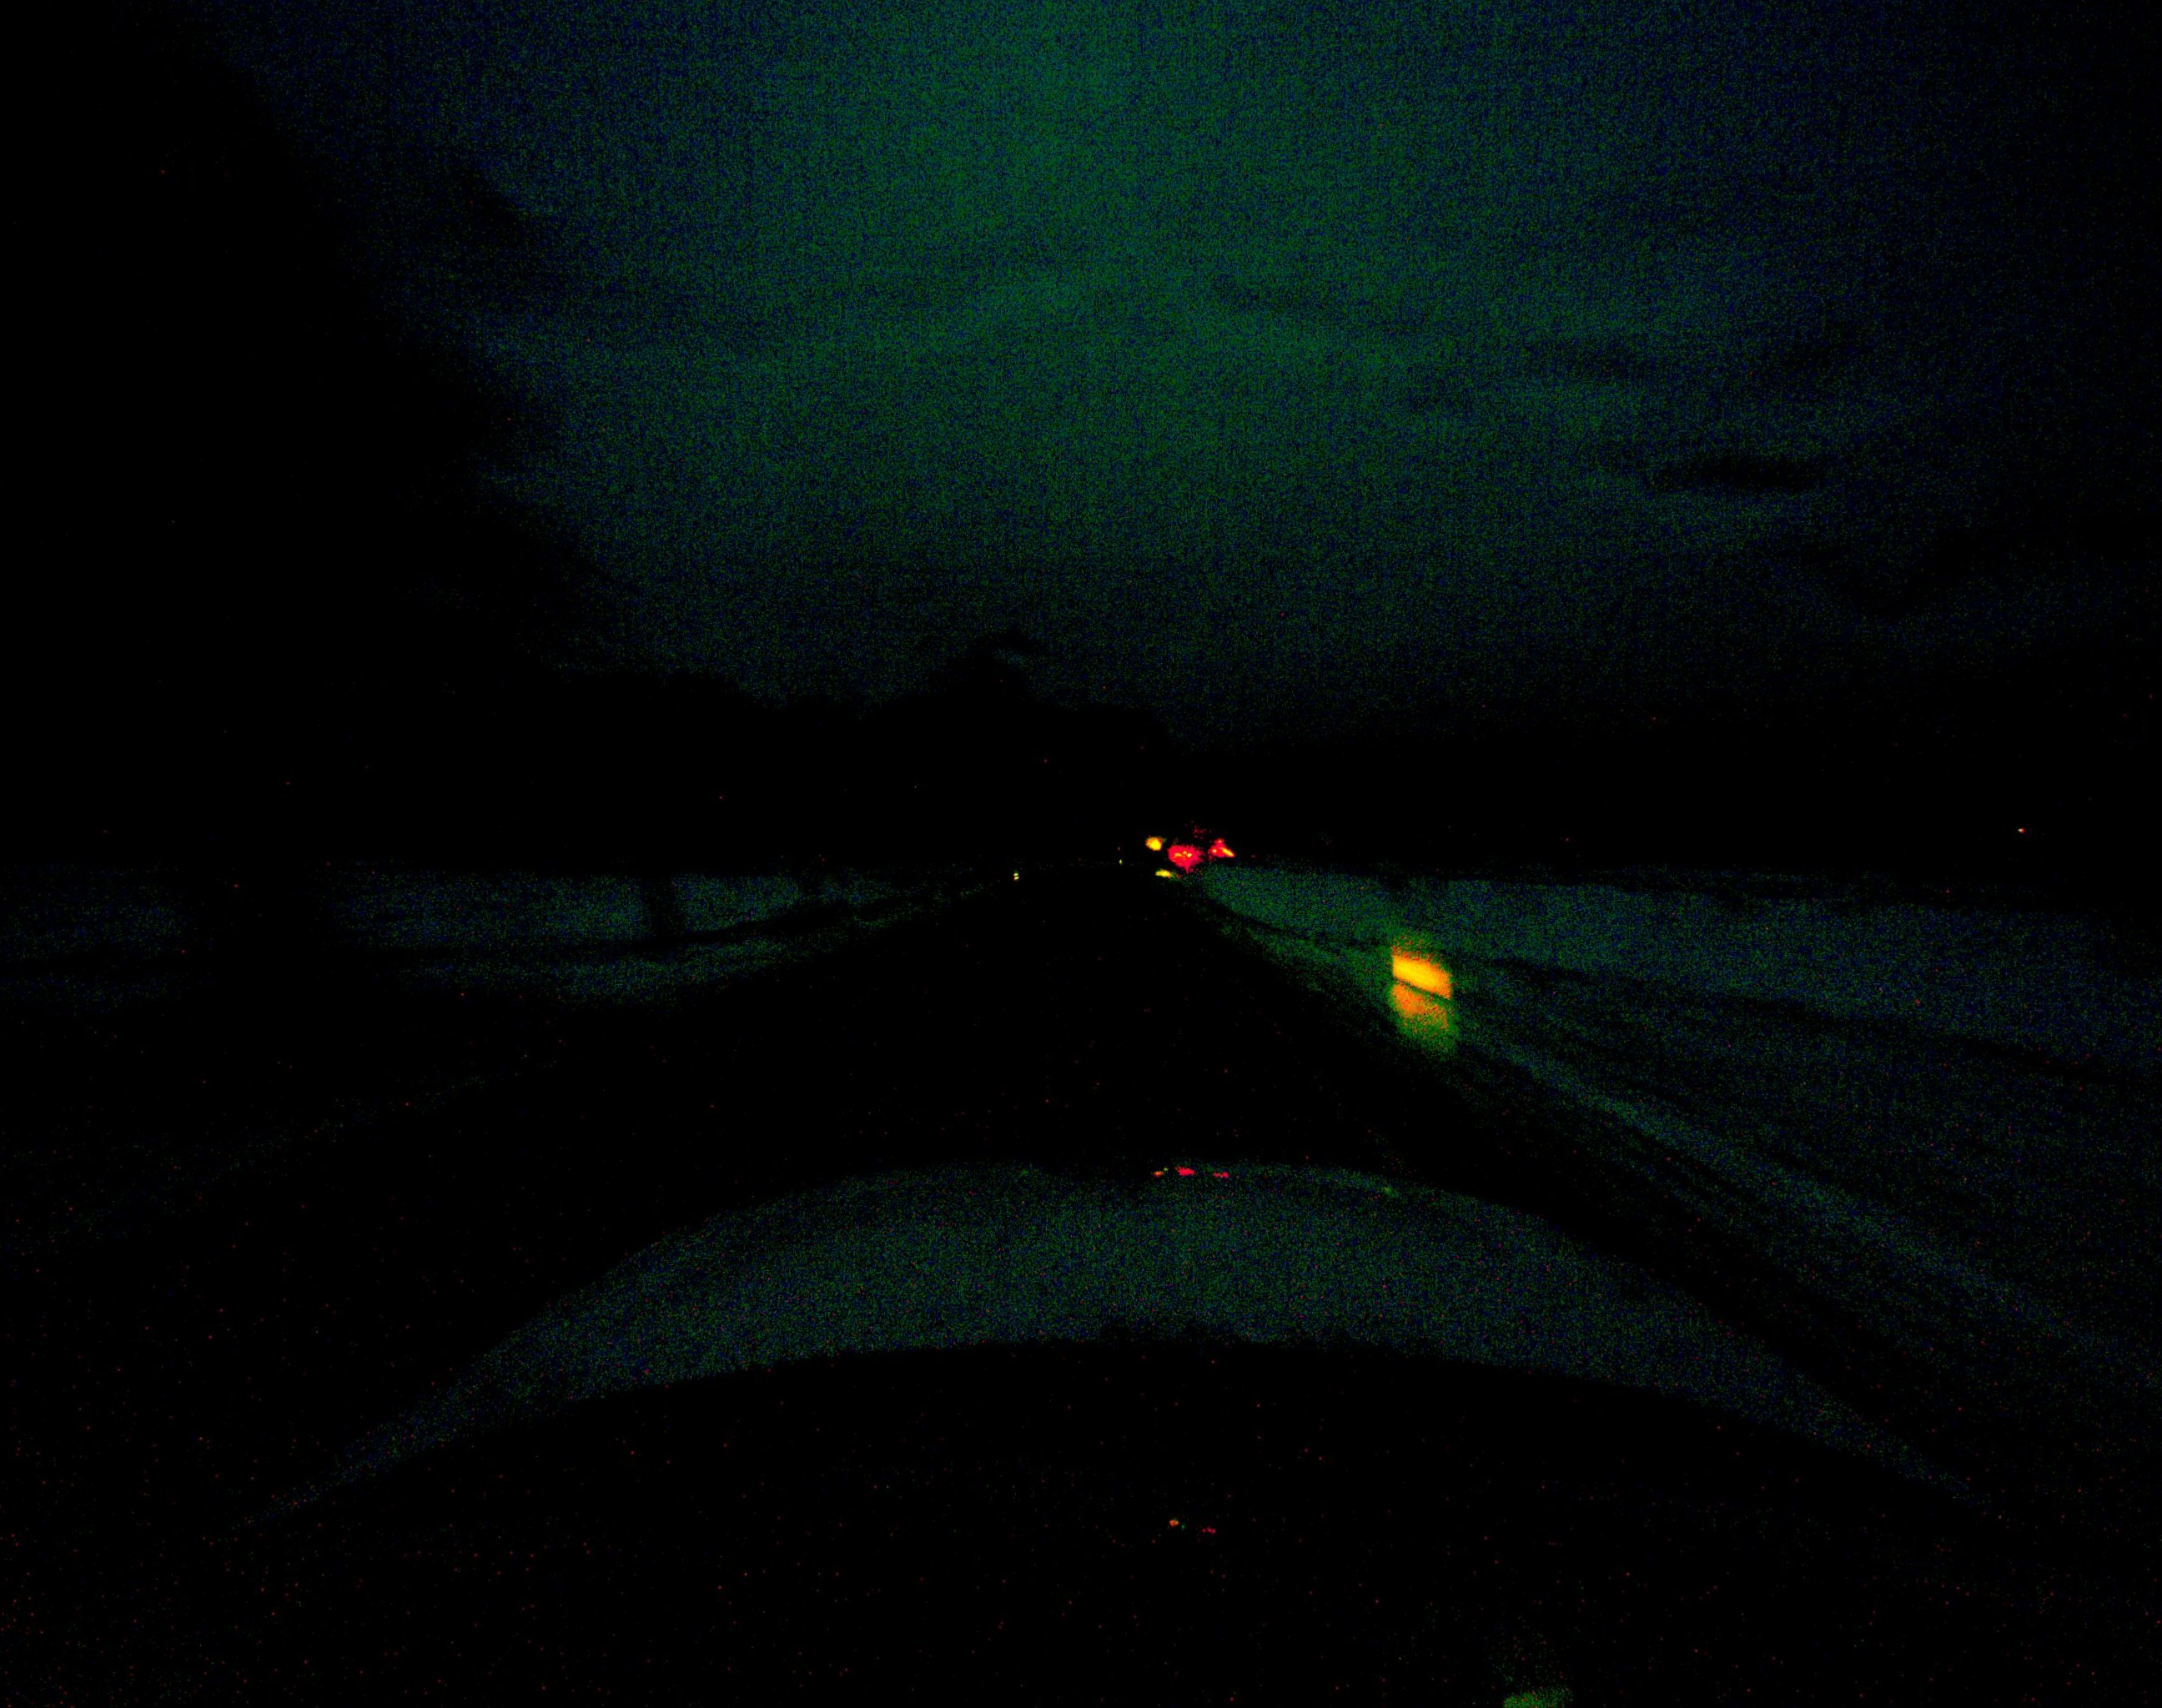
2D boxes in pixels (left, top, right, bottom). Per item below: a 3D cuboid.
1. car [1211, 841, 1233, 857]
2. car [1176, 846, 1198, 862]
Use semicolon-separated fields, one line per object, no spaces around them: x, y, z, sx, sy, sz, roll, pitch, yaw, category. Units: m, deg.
23.153;-0.854;133.342;2.232;2.645;5.035;-1;0;25;car
14.309;0.013;109.827;1.976;2.051;4.022;-1;1;23;car
